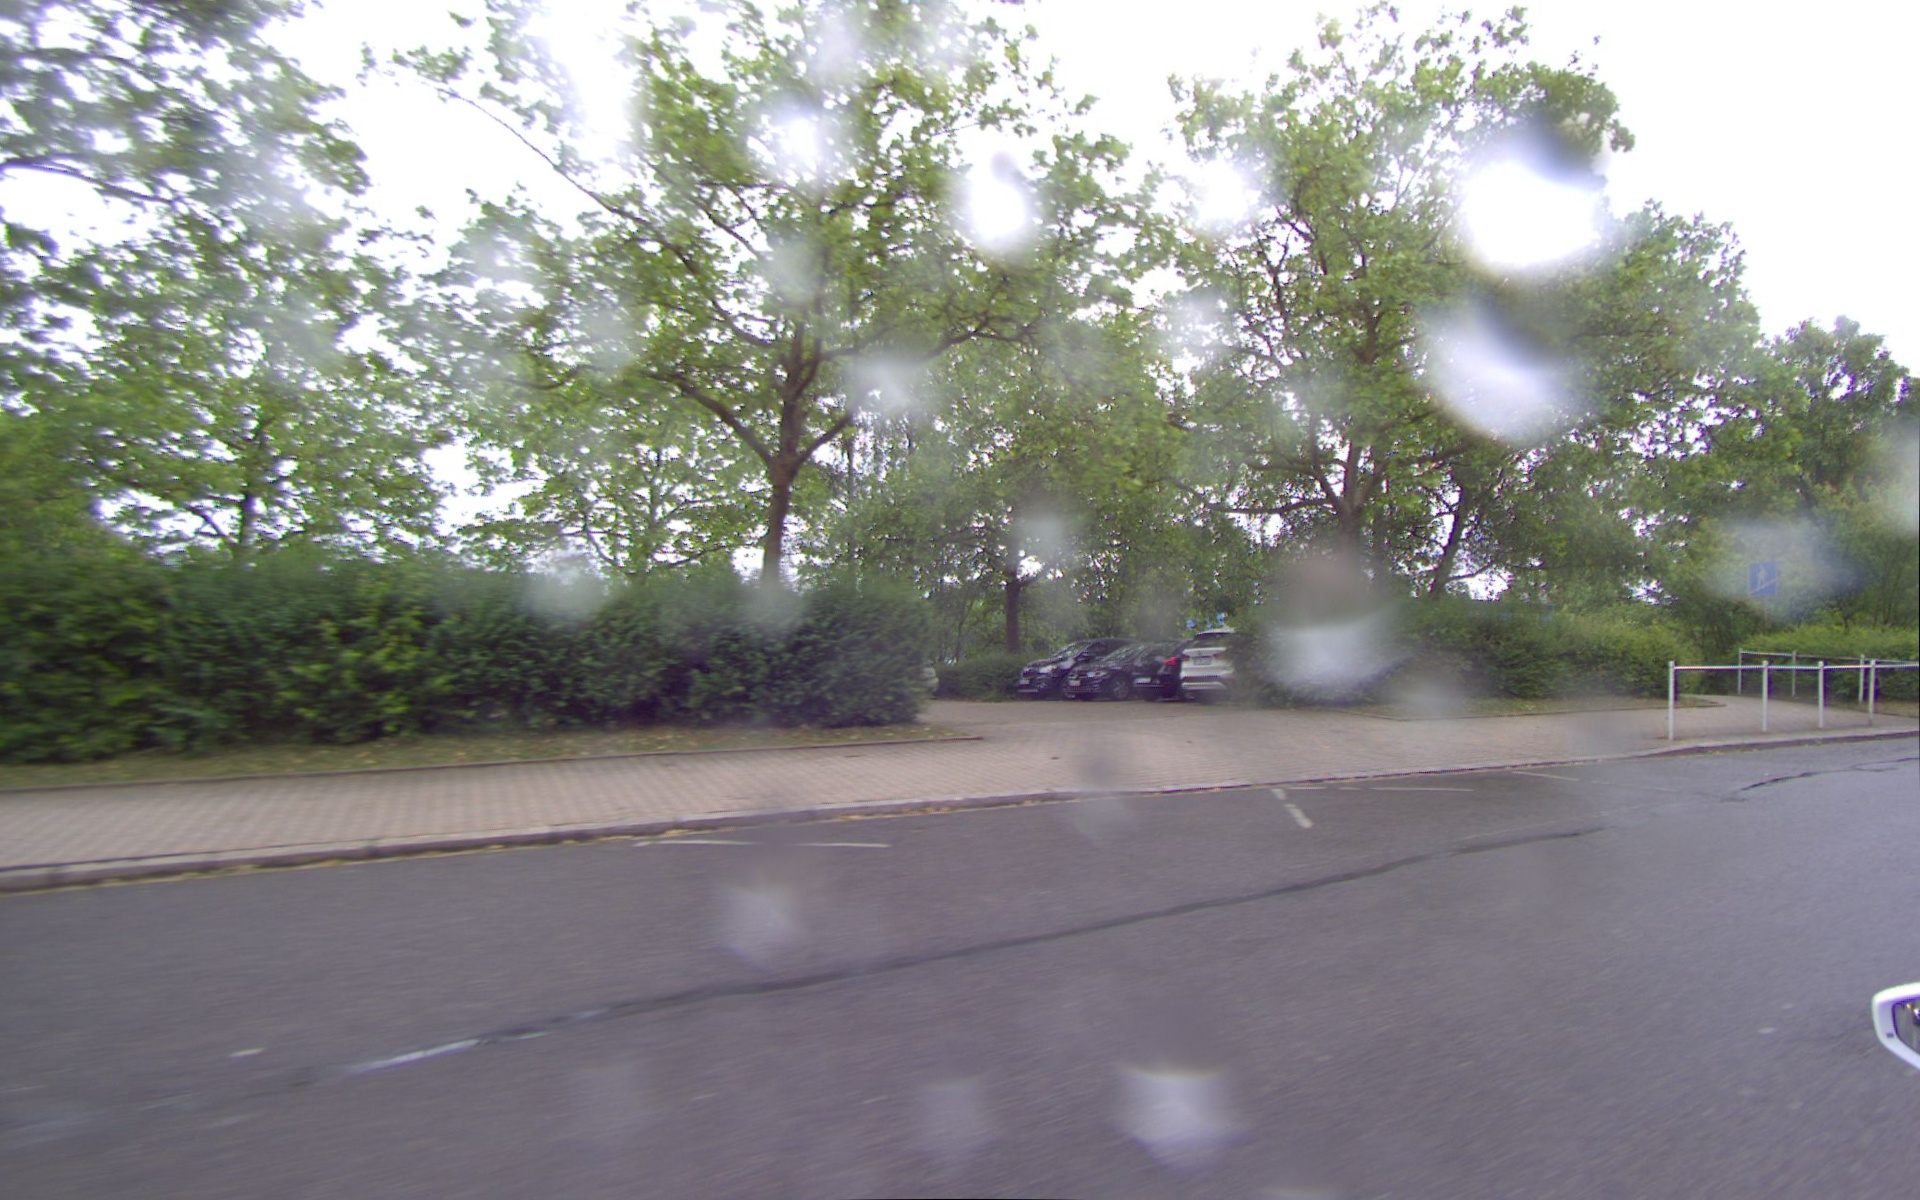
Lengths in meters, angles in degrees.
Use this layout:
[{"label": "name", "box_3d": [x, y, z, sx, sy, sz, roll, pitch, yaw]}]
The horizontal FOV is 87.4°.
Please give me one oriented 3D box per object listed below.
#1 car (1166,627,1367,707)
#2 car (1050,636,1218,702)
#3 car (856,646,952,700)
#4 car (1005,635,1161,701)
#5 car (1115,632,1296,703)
[{"label": "car", "box_3d": [6.483, 1.379, 21.190, 3.951, 1.529, 1.787, 1, -4, -29]}, {"label": "car", "box_3d": [4.451, 1.743, 25.581, 3.951, 1.529, 1.787, 1, -4, -29]}, {"label": "car", "box_3d": [-1.806, 2.255, 30.956, 1.774, 1.529, 3.981, 0, -4, -22]}, {"label": "car", "box_3d": [3.389, 1.839, 27.565, 3.951, 1.664, 1.787, 1, -4, -29]}, {"label": "car", "box_3d": [5.773, 1.565, 23.575, 3.951, 1.529, 1.787, 1, -4, -29]}]
